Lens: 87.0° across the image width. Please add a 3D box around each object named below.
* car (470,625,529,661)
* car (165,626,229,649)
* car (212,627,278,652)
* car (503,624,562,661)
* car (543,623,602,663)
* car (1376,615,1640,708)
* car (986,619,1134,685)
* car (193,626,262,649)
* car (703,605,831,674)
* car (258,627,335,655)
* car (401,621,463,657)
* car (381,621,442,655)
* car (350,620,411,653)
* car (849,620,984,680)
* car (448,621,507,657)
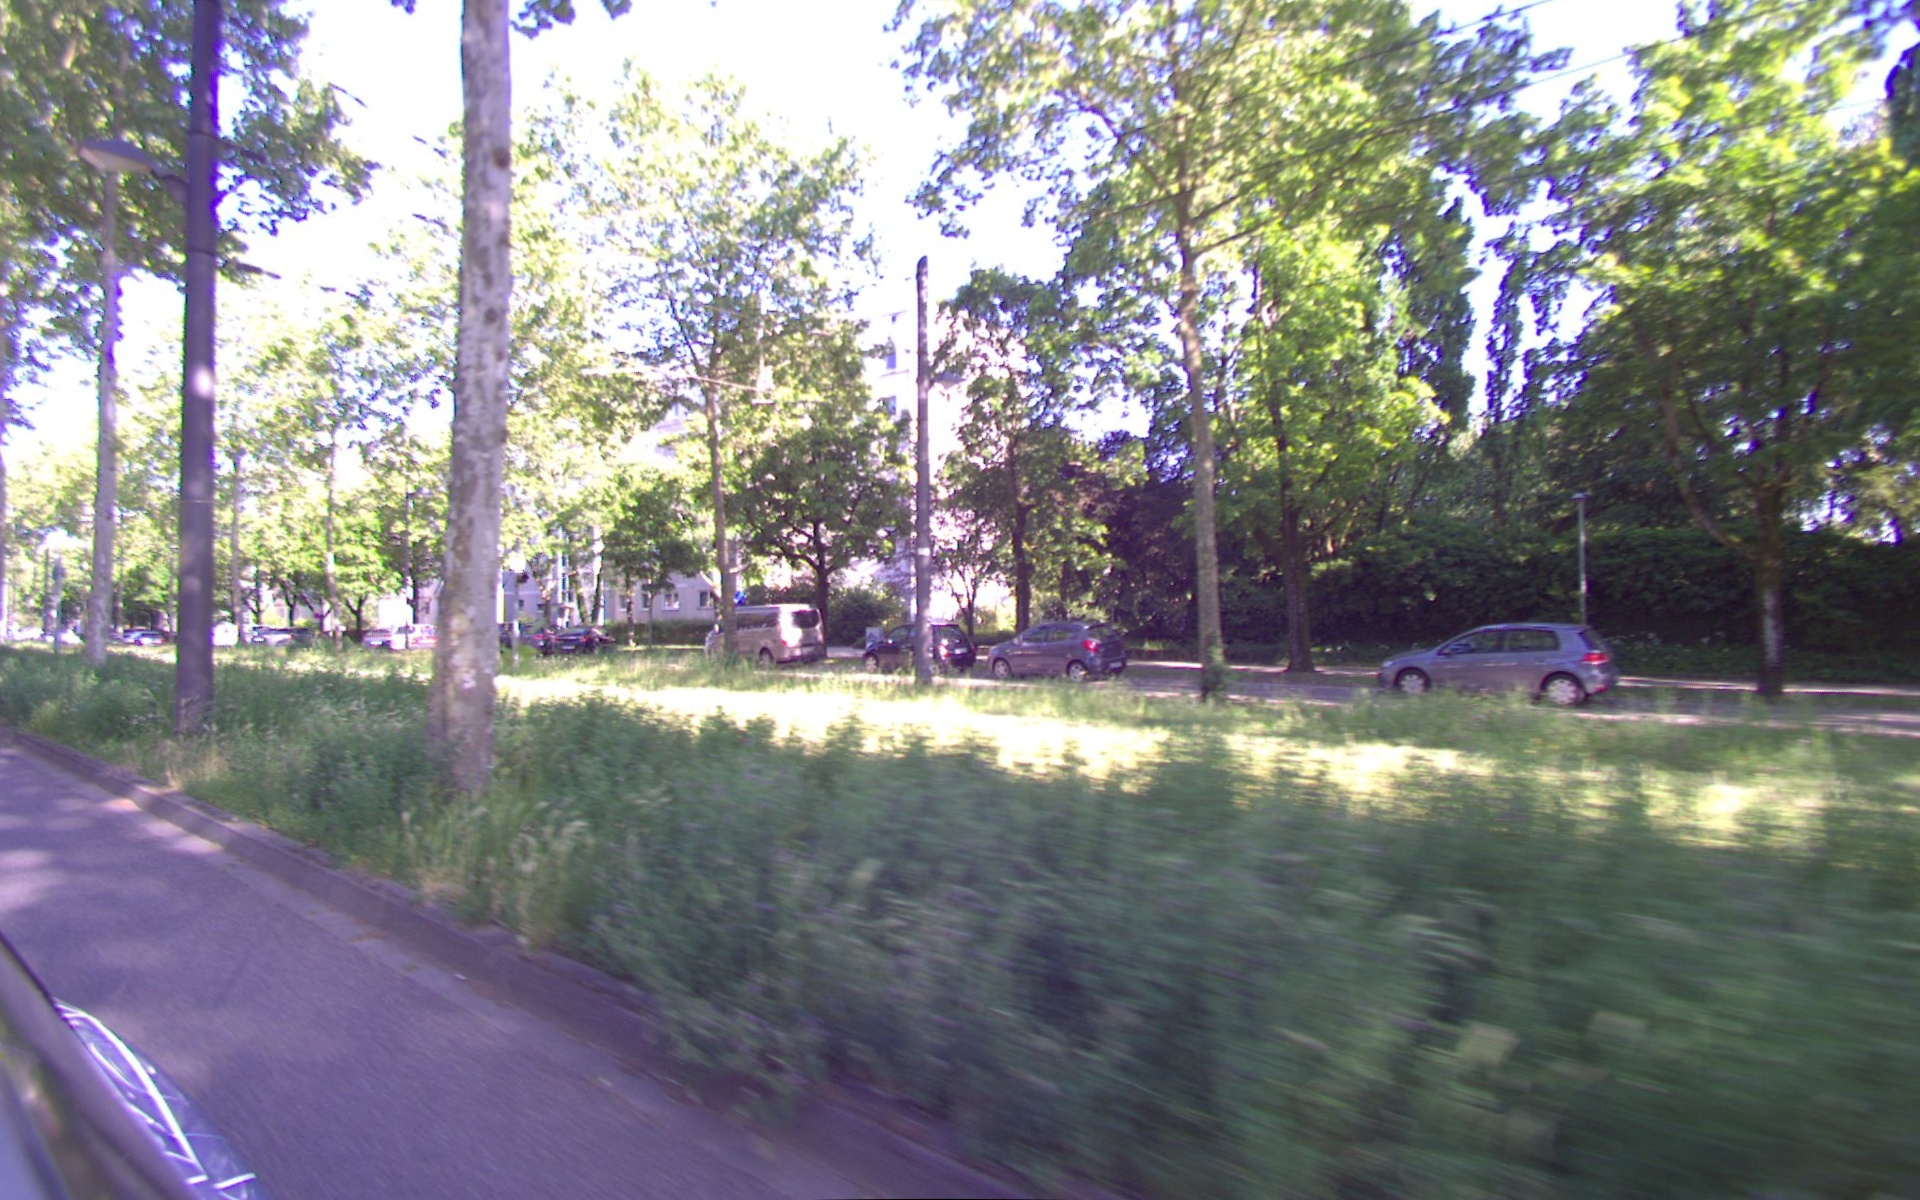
[{"bbox_3d":[-22.728,2.077,50.046,1.858,1.579,4.010,-1,0,-13],"label":"car"},{"bbox_3d":[-61.633,3.022,81.844,1.821,1.722,3.988,-1,0,10],"label":"car"},{"bbox_3d":[-53.699,2.919,76.070,1.821,1.722,3.988,-1,0,10],"label":"car"},{"bbox_3d":[-20.086,1.969,47.658,1.858,1.579,4.010,-1,0,-13],"label":"car"},{"bbox_3d":[-17.023,1.865,44.579,1.858,1.579,4.010,-1,0,-13],"label":"car"},{"bbox_3d":[10.483,1.116,19.515,4.176,1.499,1.820,-1,2,40],"label":"car"},{"bbox_3d":[2.544,1.308,26.158,3.568,1.499,1.525,-1,2,42],"label":"car"},{"bbox_3d":[-58.582,2.982,80.991,1.821,1.722,4.486,-1,0,10],"label":"car"},{"bbox_3d":[-6.554,1.270,34.124,4.276,2.072,1.961,-1,2,41],"label":"car"},{"bbox_3d":[-45.591,2.813,69.614,1.879,1.722,4.486,-1,0,10],"label":"car"},{"bbox_3d":[-28.270,2.053,54.341,1.868,1.722,4.511,-1,0,-13],"label":"car"},{"bbox_3d":[-31.196,2.113,57.713,1.868,1.722,4.511,-1,0,-13],"label":"car"},{"bbox_3d":[-34.003,2.104,59.528,1.868,1.722,4.511,-1,0,-13],"label":"car"},{"bbox_3d":[-1.307,1.413,29.754,3.816,1.507,1.732,-1,2,42],"label":"car"},{"bbox_3d":[-25.546,2.025,53.712,1.868,1.722,4.511,-1,0,-13],"label":"car"}]
